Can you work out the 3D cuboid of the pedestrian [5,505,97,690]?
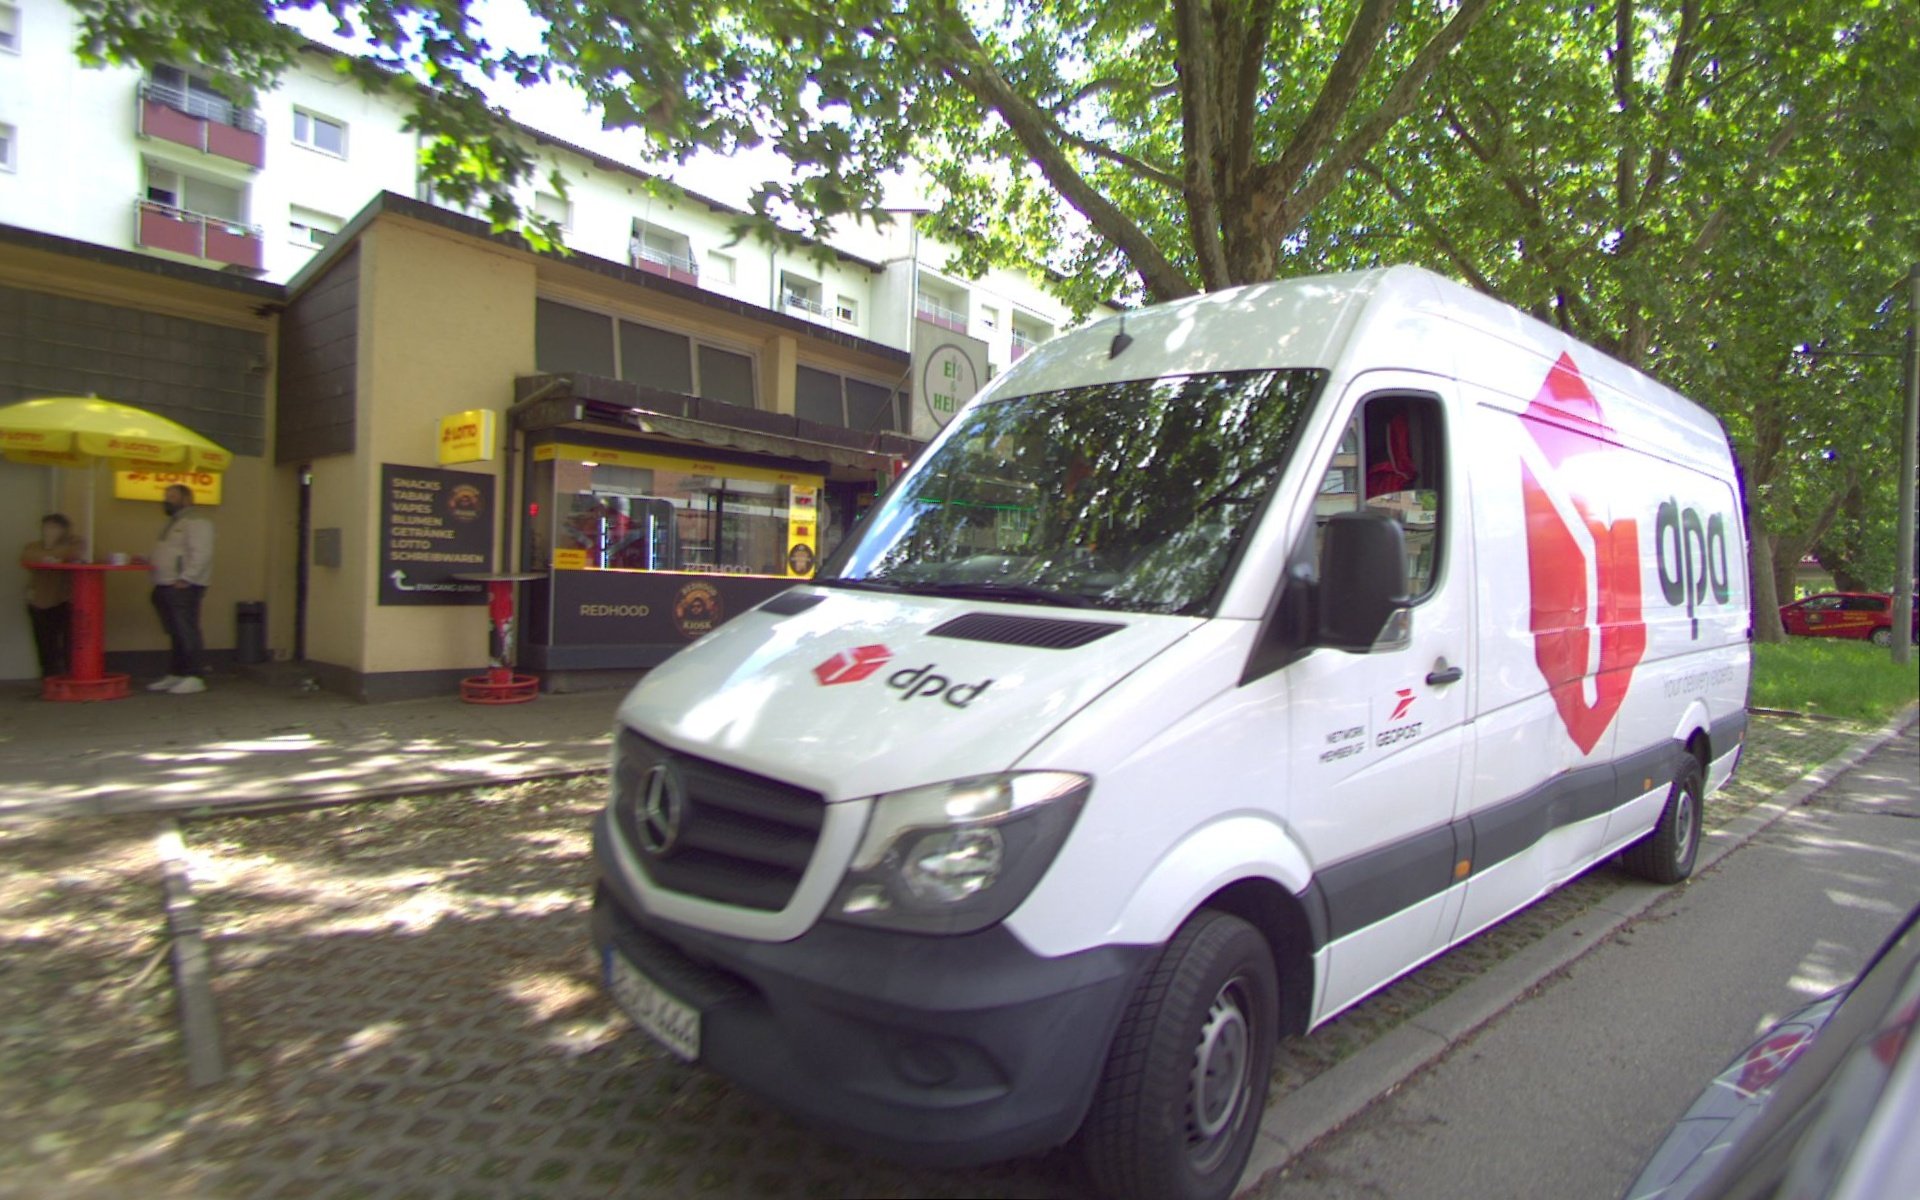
[{"bbox_3d":[-7.668,-0.027,8.539,0.462,1.505,0.504,1,1,37],"label":"pedestrian"}]

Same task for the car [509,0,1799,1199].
[{"bbox_3d":[1.808,0.052,4.535,6.715,2.612,1.908,0,3,-42],"label":"car"}]

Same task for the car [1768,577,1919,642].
[{"bbox_3d":[25.427,0.231,28.944,1.584,1.533,3.411,0,5,-45],"label":"car"}]

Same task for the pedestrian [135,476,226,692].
[{"bbox_3d":[-6.862,-0.141,8.908,0.516,1.816,0.527,1,1,39],"label":"pedestrian"}]

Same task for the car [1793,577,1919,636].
[{"bbox_3d":[28.814,0.214,31.579,1.699,1.631,4.041,1,3,-38],"label":"car"}]

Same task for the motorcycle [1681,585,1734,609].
[{"bbox_3d":[40.265,-0.162,54.553,0.725,1.210,2.140,1,2,-32],"label":"motorcycle"}]

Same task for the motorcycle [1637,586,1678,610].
[{"bbox_3d":[38.813,-0.130,56.349,0.726,1.210,2.139,2,2,0],"label":"motorcycle"}]
